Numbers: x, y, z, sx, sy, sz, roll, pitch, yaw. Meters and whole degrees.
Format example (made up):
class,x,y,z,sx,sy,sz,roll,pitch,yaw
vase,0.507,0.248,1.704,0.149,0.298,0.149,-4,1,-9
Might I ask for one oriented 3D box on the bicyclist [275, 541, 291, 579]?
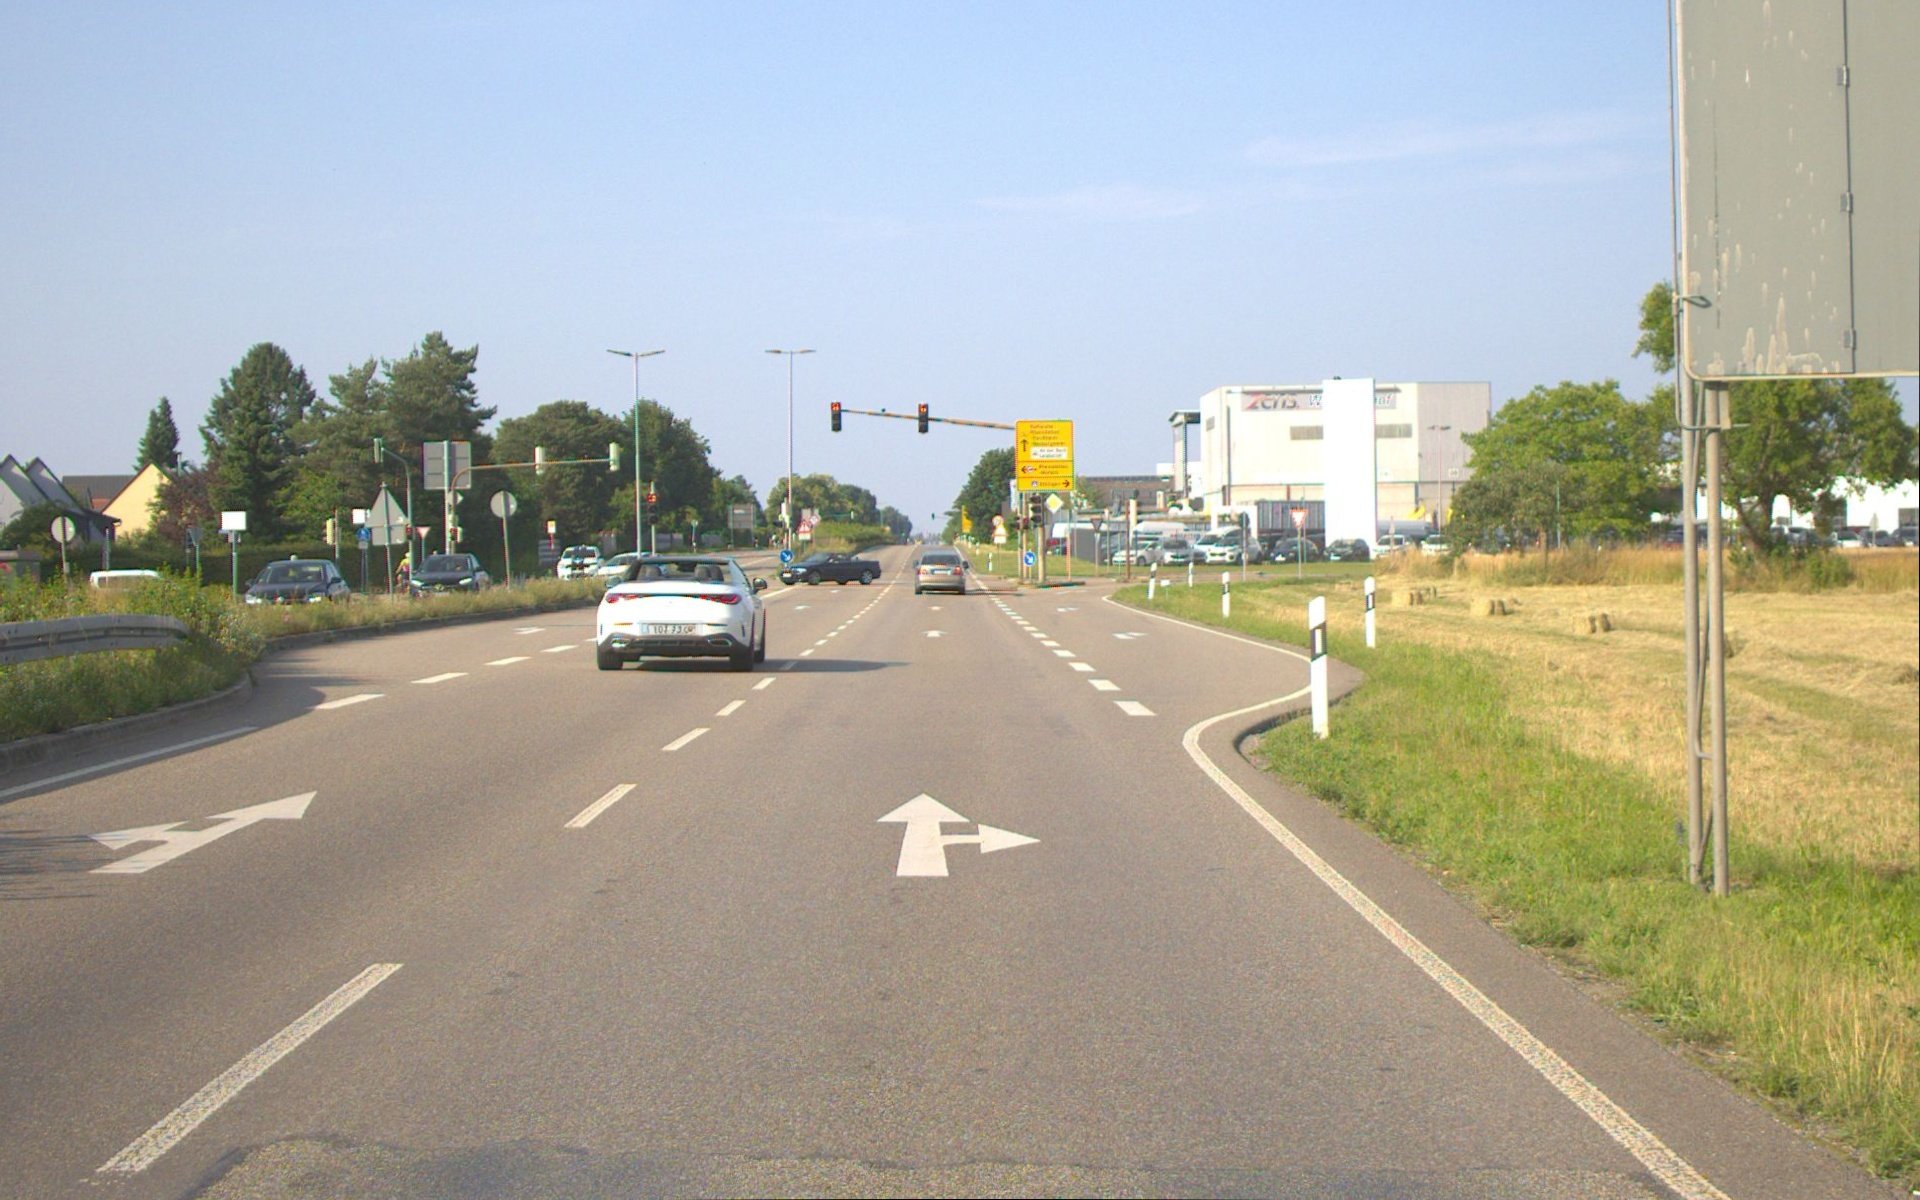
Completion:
class,x,y,z,sx,sy,sz,roll,pitch,yaw
bicyclist,-23.956,-1.420,121.628,0.455,1.347,0.552,-1,1,-3

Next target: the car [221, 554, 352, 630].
class,x,y,z,sx,sy,sz,roll,pitch,yaw
car,-14.143,-0.191,72.442,1.993,1.481,4.227,1,1,-1

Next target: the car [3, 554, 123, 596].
class,x,y,z,sx,sy,sz,roll,pitch,yaw
car,-33.835,-0.930,129.763,4.182,1.517,2.001,0,1,-8

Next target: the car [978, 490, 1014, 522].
class,x,y,z,sx,sy,sz,roll,pitch,yaw
car,2.002,-5.211,190.939,1.993,1.751,4.000,1,1,1

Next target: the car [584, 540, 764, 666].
class,x,y,z,sx,sy,sz,roll,pitch,yaw
car,-3.431,0.002,41.864,1.909,1.417,4.000,1,1,-1

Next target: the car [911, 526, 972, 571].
class,x,y,z,sx,sy,sz,roll,pitch,yaw
car,-0.651,-1.754,116.486,1.993,1.481,4.000,1,1,-1

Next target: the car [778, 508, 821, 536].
class,x,y,z,sx,sy,sz,roll,pitch,yaw
car,-8.226,-3.997,176.653,1.947,1.403,4.000,1,1,0

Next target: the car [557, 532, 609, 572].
class,x,y,z,sx,sy,sz,roll,pitch,yaw
car,-17.415,-2.220,158.871,1.947,1.794,4.000,1,1,0

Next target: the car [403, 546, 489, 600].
class,x,y,z,sx,sy,sz,roll,pitch,yaw
car,-14.195,-0.760,95.138,1.729,1.403,4.000,1,1,0

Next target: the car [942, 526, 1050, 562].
class,x,y,z,sx,sy,sz,roll,pitch,yaw
car,1.490,-2.296,140.996,3.986,1.403,1.955,0,1,-20

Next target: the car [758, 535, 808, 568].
class,x,y,z,sx,sy,sz,roll,pitch,yaw
car,-7.823,-2.152,151.928,1.947,1.403,4.000,1,1,0

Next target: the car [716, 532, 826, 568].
class,x,y,z,sx,sy,sz,roll,pitch,yaw
car,-7.608,-2.002,138.115,3.986,1.403,1.955,0,1,-22

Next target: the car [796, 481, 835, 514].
class,x,y,z,sx,sy,sz,roll,pitch,yaw
car,-7.997,-5.690,190.893,1.947,1.766,4.000,1,1,0
